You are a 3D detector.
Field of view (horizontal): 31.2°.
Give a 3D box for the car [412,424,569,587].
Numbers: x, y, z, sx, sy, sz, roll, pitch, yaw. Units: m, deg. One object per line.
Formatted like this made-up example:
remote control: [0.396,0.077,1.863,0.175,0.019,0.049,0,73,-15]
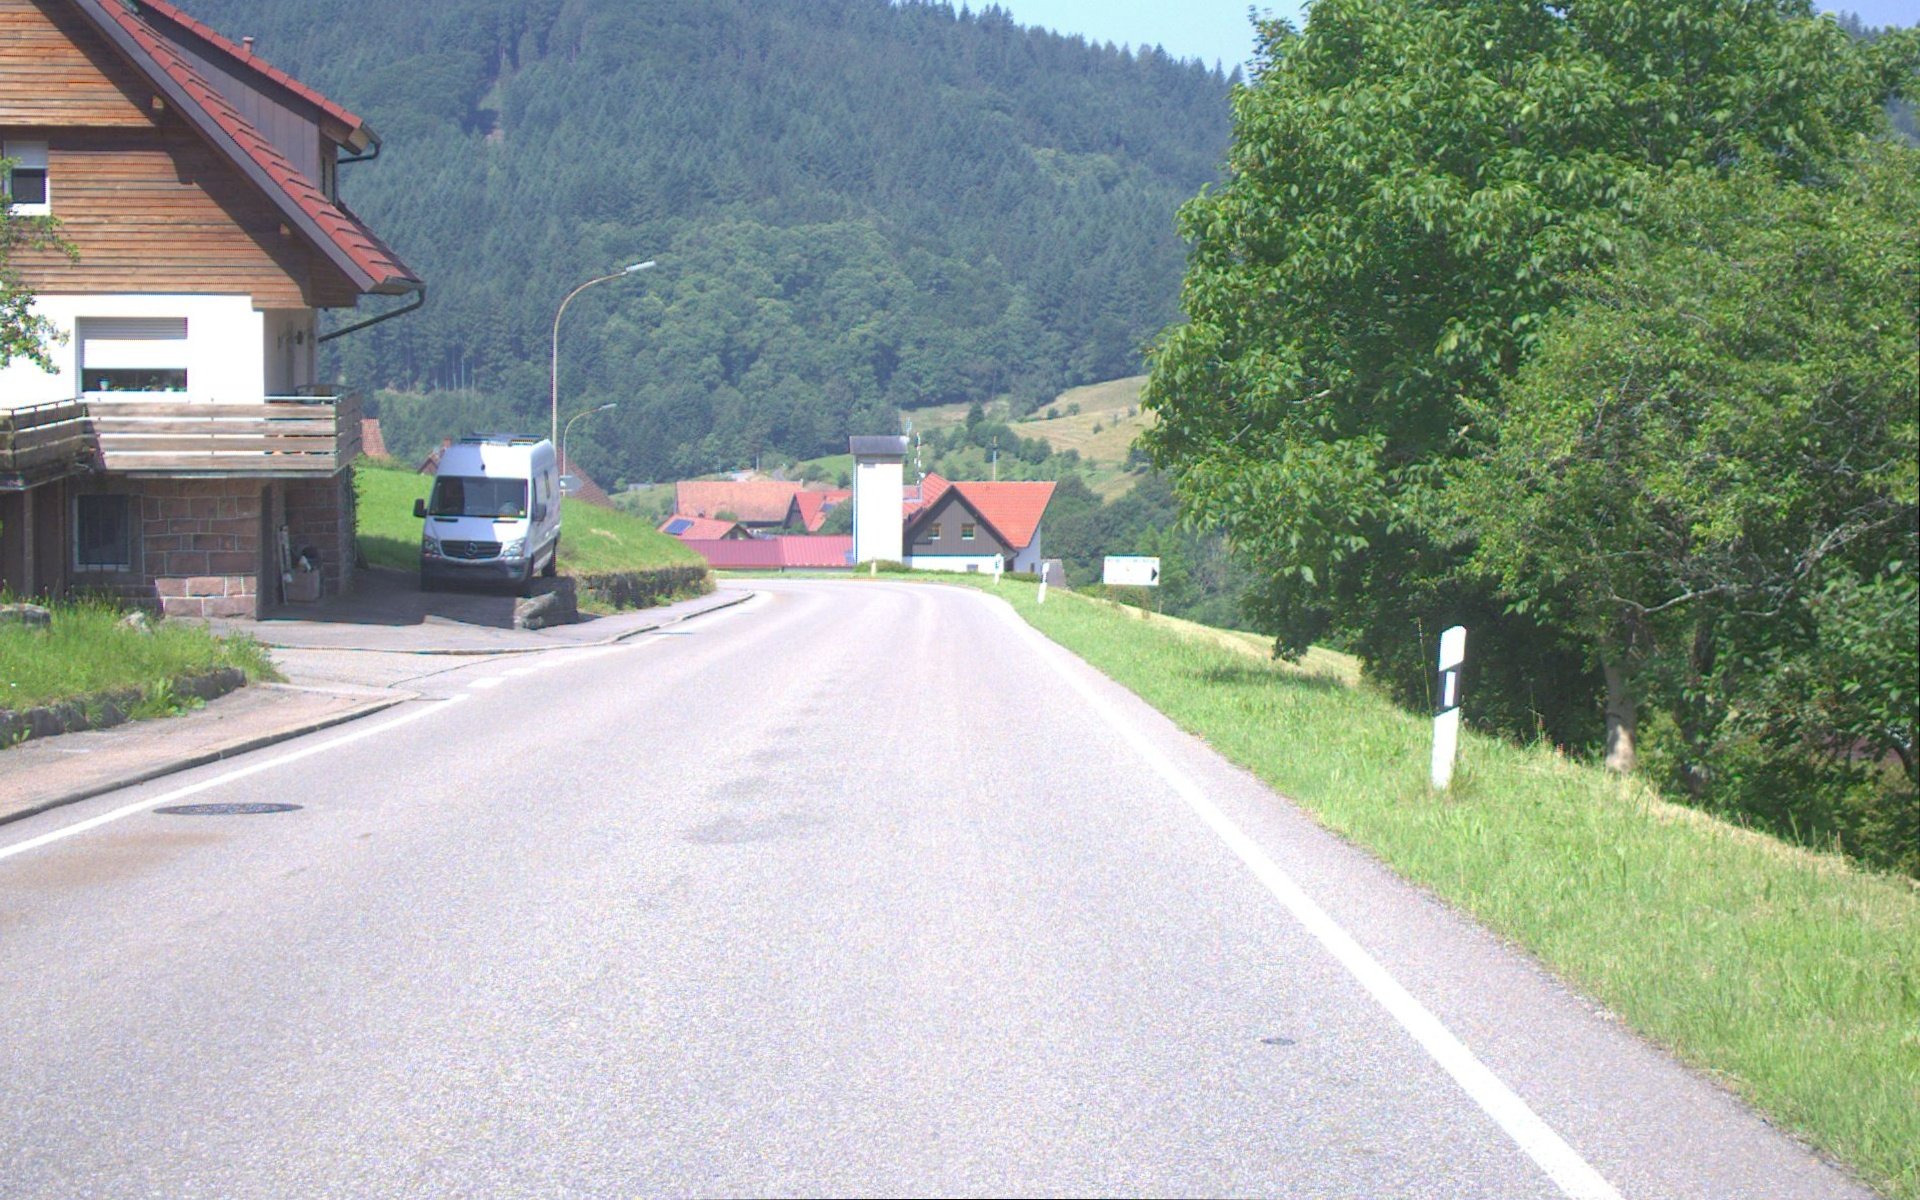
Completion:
car: [-8.615,-1.836,63.627,2.067,2.679,7.176,1,4,-1]
